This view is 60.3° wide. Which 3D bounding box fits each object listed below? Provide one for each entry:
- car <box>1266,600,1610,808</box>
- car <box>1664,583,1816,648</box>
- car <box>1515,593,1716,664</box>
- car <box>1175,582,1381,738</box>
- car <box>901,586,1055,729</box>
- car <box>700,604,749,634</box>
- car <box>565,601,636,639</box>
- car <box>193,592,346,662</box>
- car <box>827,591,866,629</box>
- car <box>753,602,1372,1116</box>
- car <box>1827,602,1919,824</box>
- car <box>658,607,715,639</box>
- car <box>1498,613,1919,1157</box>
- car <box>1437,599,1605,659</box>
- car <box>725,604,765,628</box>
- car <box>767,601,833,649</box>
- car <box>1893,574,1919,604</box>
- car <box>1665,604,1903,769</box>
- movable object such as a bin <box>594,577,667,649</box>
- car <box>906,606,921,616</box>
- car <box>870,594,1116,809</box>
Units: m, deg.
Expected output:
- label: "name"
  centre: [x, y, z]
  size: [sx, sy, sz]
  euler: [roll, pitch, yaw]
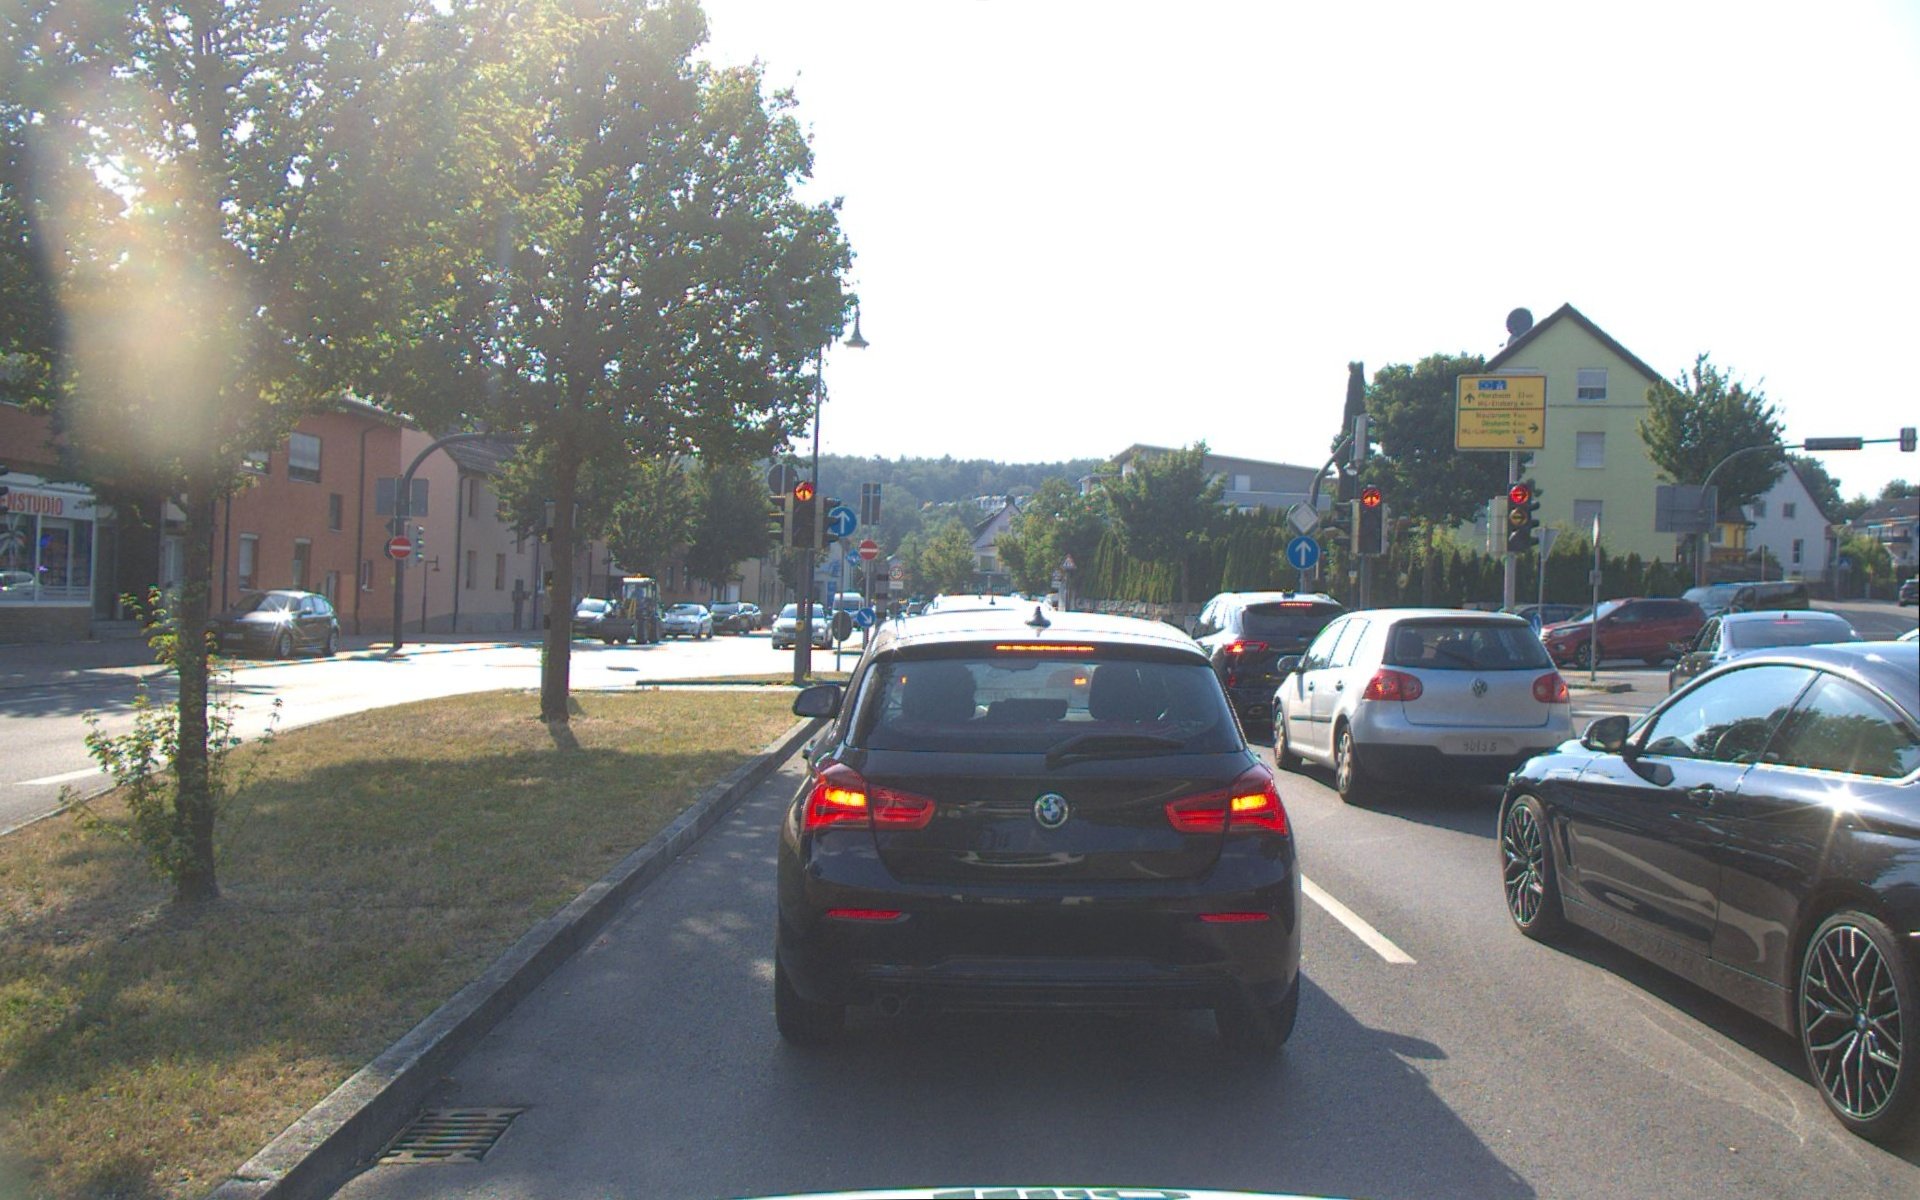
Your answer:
- label: "car"
  centre: [3.785, 0.744, 13.788]
  size: [1.725, 1.451, 3.902]
  euler: [-1, 0, 0]
- label: "car"
  centre: [22.374, 0.441, 47.386]
  size: [4.728, 1.770, 1.826]
  euler: [1, 0, -35]
- label: "car"
  centre: [16.318, 0.694, 41.269]
  size: [4.333, 1.670, 1.845]
  euler: [1, 0, -8]
- label: "car"
  centre: [3.738, 0.652, 20.071]
  size: [1.725, 1.685, 3.902]
  euler: [-1, 0, 0]
- label: "car"
  centre: [0.200, 0.651, 21.037]
  size: [1.751, 1.622, 4.280]
  euler: [-1, 0, 0]
- label: "car"
  centre: [-11.904, 0.951, 83.689]
  size: [1.701, 1.323, 3.800]
  euler: [5, 0, 2]
- label: "car"
  centre: [-14.506, 0.801, 66.920]
  size: [1.701, 1.323, 4.001]
  euler: [5, 0, 3]
- label: "car"
  centre: [-15.479, 0.572, 37.306]
  size: [1.702, 1.323, 3.999]
  euler: [5, 0, -1]
- label: "car"
  centre: [-7.535, 0.659, 110.396]
  size: [2.041, 2.435, 5.529]
  euler: [1, 0, 1]
- label: "car"
  centre: [0.289, 0.739, 6.852]
  size: [1.751, 1.422, 4.280]
  euler: [-1, 0, 0]
- label: "car"
  centre: [7.614, 0.803, 11.641]
  size: [1.583, 1.569, 3.320]
  euler: [-1, 0, 6]
- label: "car"
  centre: [-11.817, 0.981, 71.564]
  size: [1.700, 1.324, 3.800]
  euler: [0, 0, 2]
- label: "car"
  centre: [3.464, 0.790, 5.832]
  size: [1.725, 1.422, 4.280]
  euler: [-1, 0, 0]
- label: "car"
  centre: [15.161, 0.767, 44.848]
  size: [3.907, 1.515, 1.847]
  euler: [1, 0, -3]
- label: "car"
  centre: [-13.313, 0.966, 102.646]
  size: [1.701, 1.323, 3.800]
  euler: [5, 0, 2]
- label: "car"
  centre: [-5.315, 0.802, 55.421]
  size: [1.801, 1.508, 4.000]
  euler: [1, 0, 0]
- label: "car"
  centre: [56.333, -0.631, 97.539]
  size: [1.930, 1.709, 4.202]
  euler: [0, 0, 34]
- label: "car"
  centre: [9.039, 0.857, 18.473]
  size: [1.621, 1.569, 4.401]
  euler: [-1, 0, 17]
- label: "movable object such as a bin"
  centre: [-11.903, 0.450, 59.986]
  size: [1.701, 2.485, 4.449]
  euler: [0, 0, 0]
- label: "car"
  centre: [-6.432, 1.517, 228.209]
  size: [1.701, 1.323, 3.800]
  euler: [5, 0, 2]
- label: "car"
  centre: [0.230, 0.718, 13.997]
  size: [1.751, 1.520, 4.280]
  euler: [-1, 0, 0]
